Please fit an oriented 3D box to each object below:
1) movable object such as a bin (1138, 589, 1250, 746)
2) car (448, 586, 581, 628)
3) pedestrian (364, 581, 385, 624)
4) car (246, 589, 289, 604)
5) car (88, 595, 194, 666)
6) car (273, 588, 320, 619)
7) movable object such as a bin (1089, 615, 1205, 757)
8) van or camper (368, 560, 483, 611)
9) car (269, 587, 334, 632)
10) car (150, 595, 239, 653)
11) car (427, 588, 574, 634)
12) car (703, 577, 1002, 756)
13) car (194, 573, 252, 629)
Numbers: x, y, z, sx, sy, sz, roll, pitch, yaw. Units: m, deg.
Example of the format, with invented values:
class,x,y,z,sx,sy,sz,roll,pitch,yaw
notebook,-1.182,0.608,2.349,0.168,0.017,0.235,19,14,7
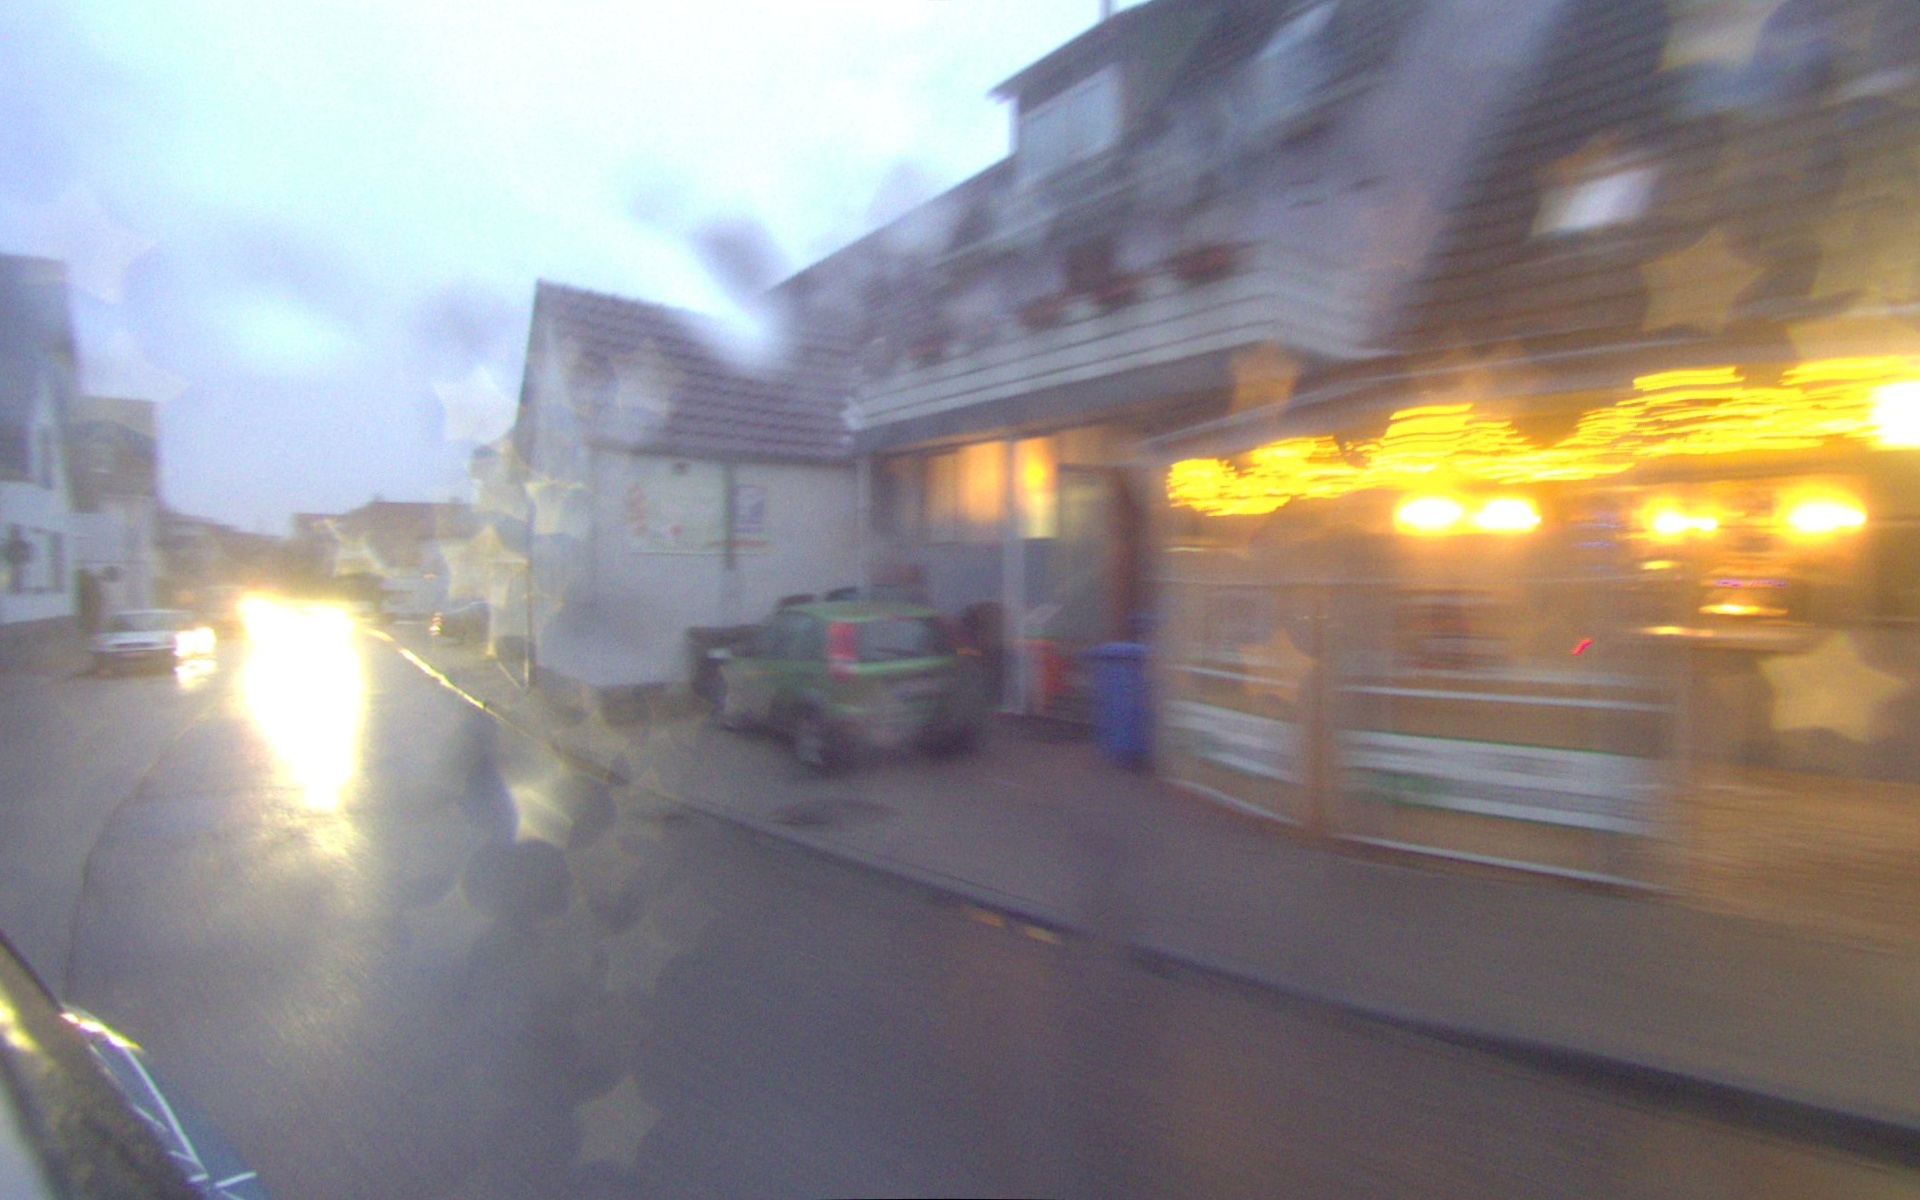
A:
class,x,y,z,sx,sy,sz,roll,pitch,yaw
movable object such as a bin,2.060,0.566,8.917,0.601,1.307,0.732,-1,0,-39
car,-17.061,0.230,38.818,4.538,1.481,1.898,-1,1,-27
pedestrian,-29.058,0.111,50.216,0.773,2.028,0.872,-4,3,-32
car,-81.103,-0.432,118.611,3.931,1.673,1.761,-2,2,-26
car,-20.060,0.681,24.936,1.616,1.505,4.011,-4,2,-34
car,-36.992,0.169,56.396,1.960,1.569,4.246,-3,2,-36
movable object such as a bin,1.571,0.689,8.516,0.601,1.110,0.732,-1,0,-39
van or camper,-32.328,-0.816,61.236,5.975,2.964,2.330,0,0,-33
car,-25.404,0.337,39.048,1.959,1.569,4.247,-3,2,-33
car,-22.431,0.654,29.790,1.615,1.482,4.012,-3,2,-31
car,-16.316,0.342,35.996,4.530,1.481,2.006,-1,1,-31
car,-1.287,0.510,10.458,1.596,1.432,3.815,-3,3,-31
car,-35.383,0.014,48.698,1.982,2.472,5.630,-3,2,-34
